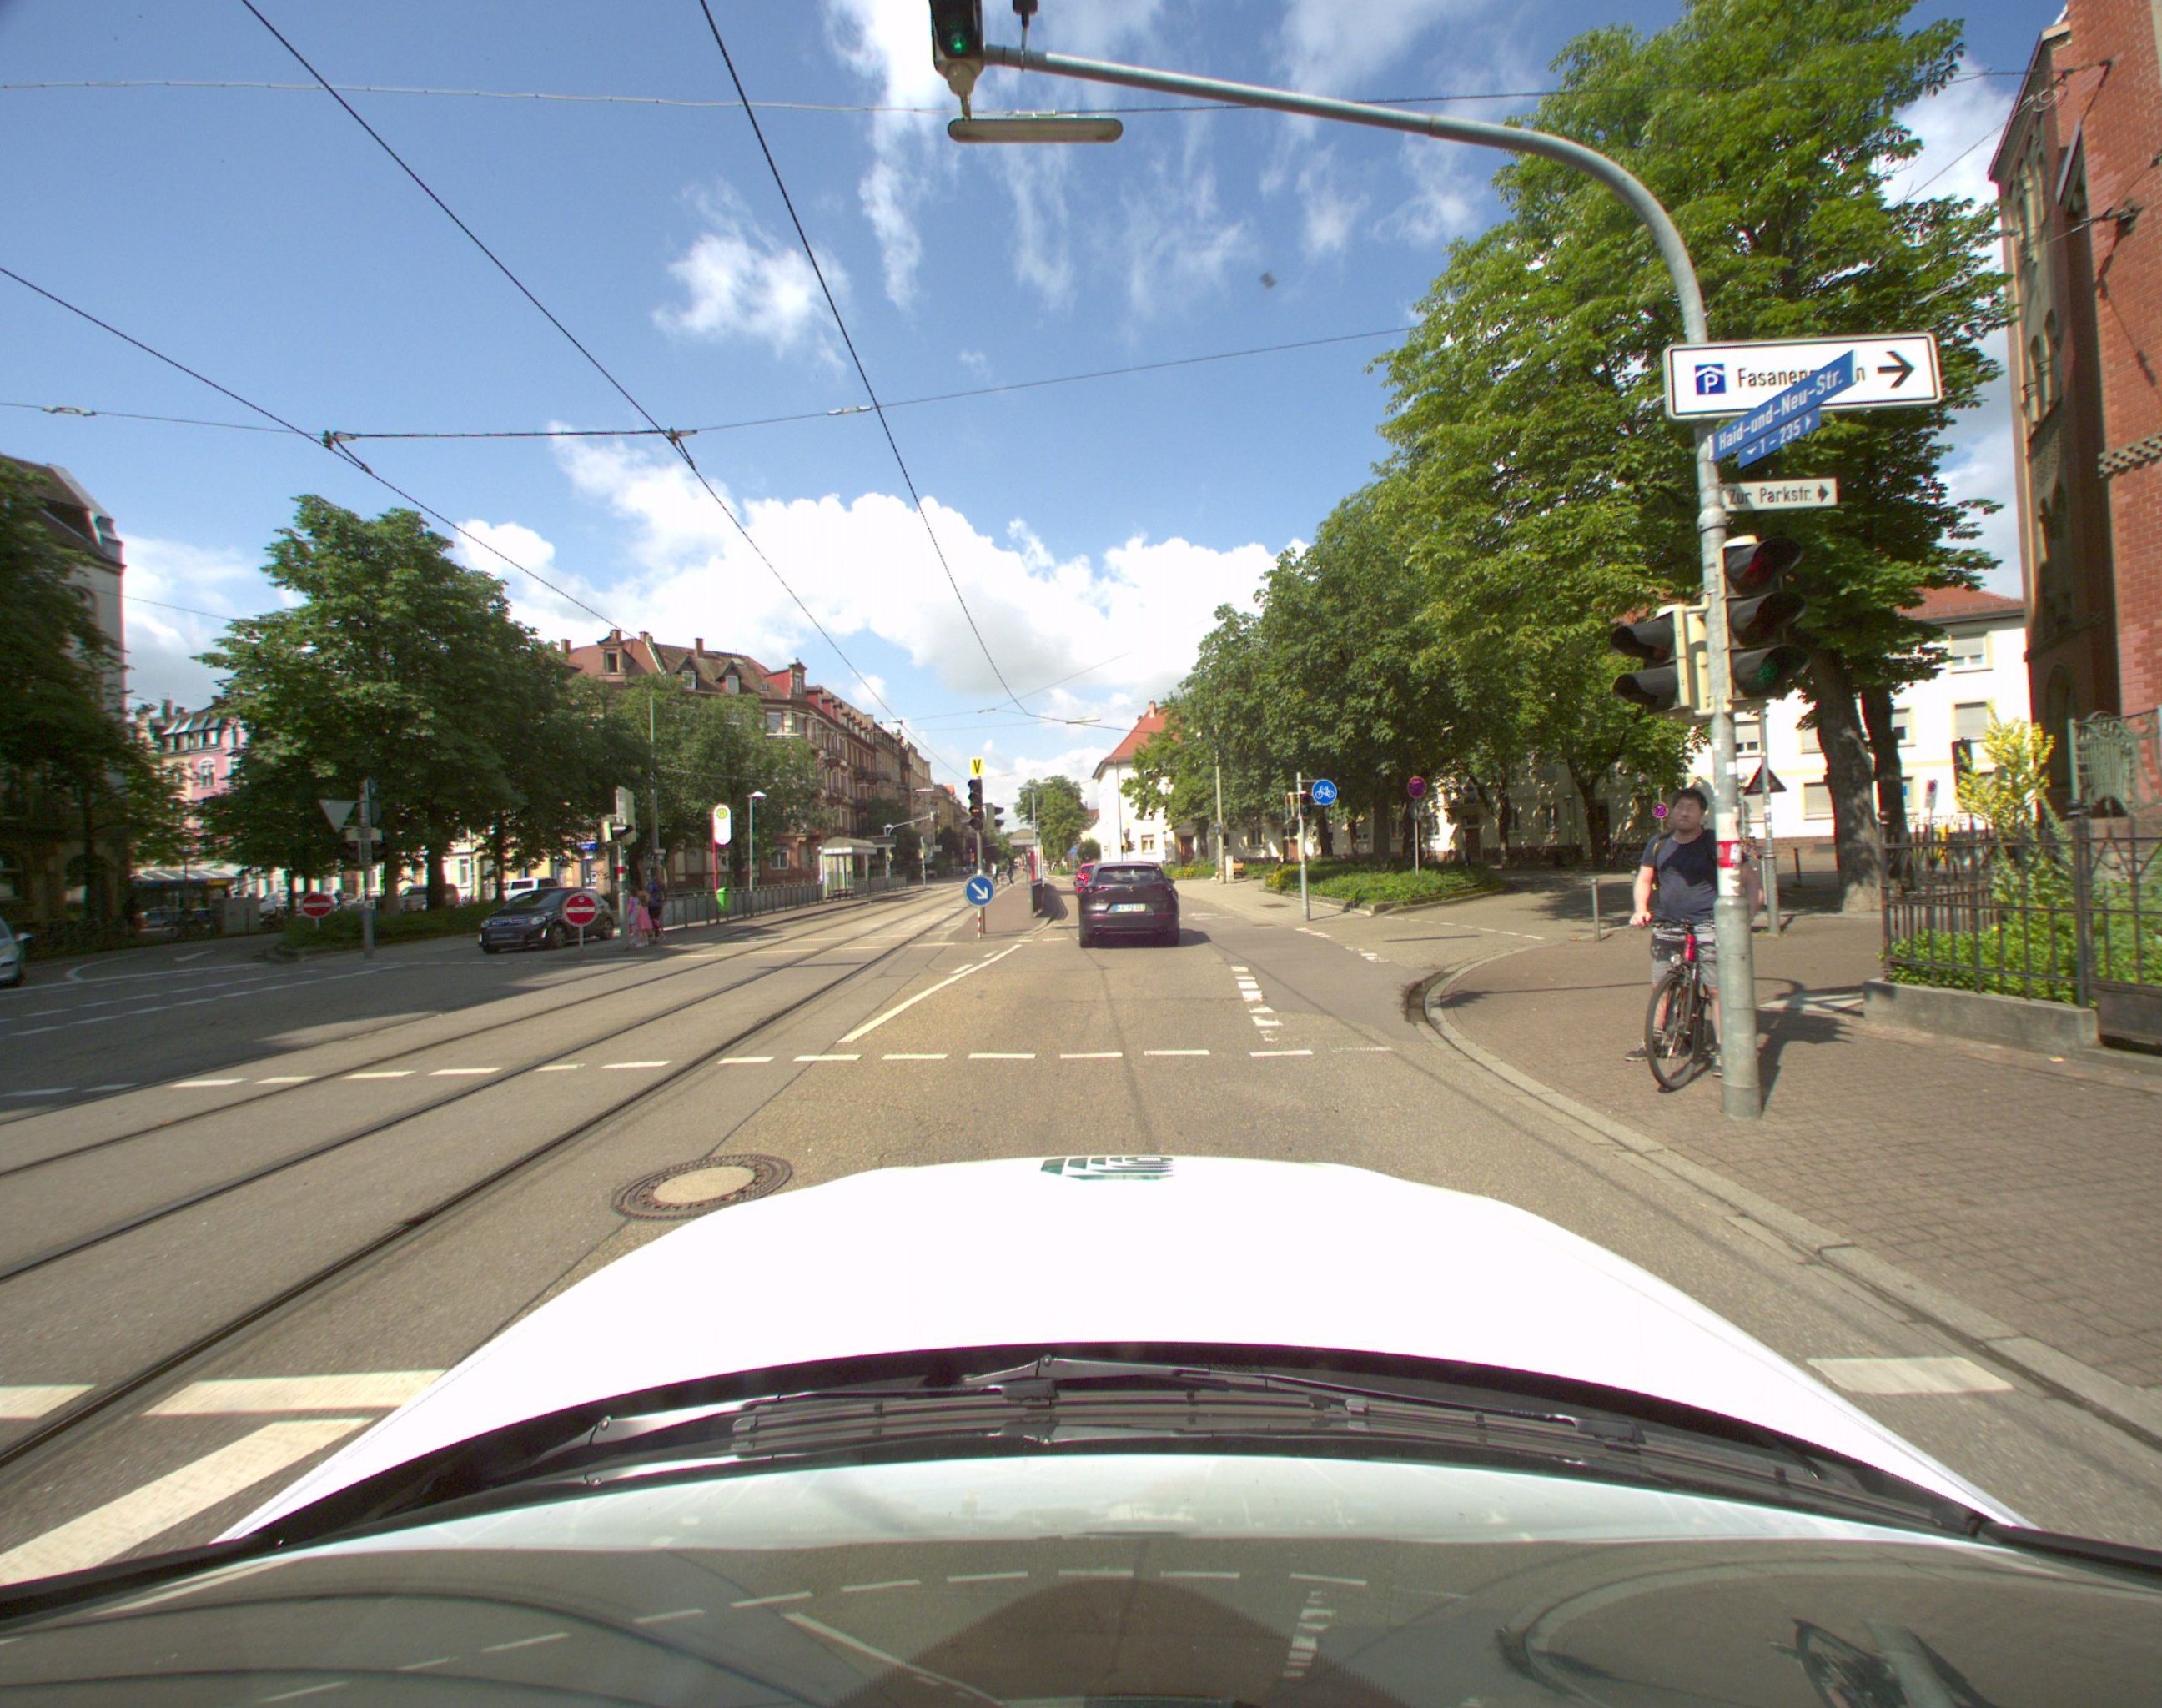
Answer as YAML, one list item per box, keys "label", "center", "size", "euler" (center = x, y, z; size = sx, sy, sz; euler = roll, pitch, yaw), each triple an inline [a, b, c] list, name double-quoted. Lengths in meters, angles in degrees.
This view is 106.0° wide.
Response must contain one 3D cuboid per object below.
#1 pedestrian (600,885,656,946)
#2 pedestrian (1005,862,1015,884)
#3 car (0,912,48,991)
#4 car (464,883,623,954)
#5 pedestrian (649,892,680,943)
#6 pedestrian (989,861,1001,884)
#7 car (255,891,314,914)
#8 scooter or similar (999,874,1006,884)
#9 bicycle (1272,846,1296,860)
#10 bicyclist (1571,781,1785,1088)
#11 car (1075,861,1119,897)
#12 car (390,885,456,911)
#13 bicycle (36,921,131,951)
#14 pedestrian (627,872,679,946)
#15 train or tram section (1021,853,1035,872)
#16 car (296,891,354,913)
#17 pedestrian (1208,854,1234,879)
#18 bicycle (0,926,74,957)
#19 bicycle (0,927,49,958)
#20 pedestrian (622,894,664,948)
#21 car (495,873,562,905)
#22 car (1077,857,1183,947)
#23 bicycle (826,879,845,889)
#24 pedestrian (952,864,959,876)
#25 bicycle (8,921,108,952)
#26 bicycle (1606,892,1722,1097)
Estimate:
- label: "pedestrian"
  center: [-10.413, 1.397, 18.735]
  size: [0.825, 1.303, 0.715]
  euler: [-5, -1, -7]
- label: "pedestrian"
  center: [-5.070, 1.380, 58.198]
  size: [0.666, 1.546, 0.580]
  euler: [-2, -1, -4]
- label: "car"
  center: [-22.082, 1.946, 16.191]
  size: [3.823, 1.420, 1.732]
  euler: [-3, -1, 41]
- label: "car"
  center: [-13.038, 1.513, 20.007]
  size: [1.621, 1.387, 3.433]
  euler: [-4, 0, -2]
- label: "pedestrian"
  center: [-9.625, 1.453, 18.822]
  size: [0.437, 1.108, 0.422]
  euler: [-4, -1, -7]
- label: "pedestrian"
  center: [-6.187, 1.326, 58.874]
  size: [0.769, 1.675, 0.667]
  euler: [-2, -1, -4]
- label: "car"
  center: [-62.827, 3.820, 64.242]
  size: [3.875, 1.555, 1.726]
  euler: [-3, -1, 19]
- label: "scooter or similar"
  center: [-5.601, 1.771, 58.192]
  size: [0.413, 0.721, 0.486]
  euler: [-2, -1, -3]
- label: "bicycle"
  center: [15.857, -0.070, 63.537]
  size: [0.570, 1.020, 1.733]
  euler: [-4, 1, -40]
- label: "bicyclist"
  center: [3.893, 0.469, 5.352]
  size: [0.736, 1.819, 0.814]
  euler: [-2, -1, -25]
- label: "car"
  center: [0.657, 1.064, 35.951]
  size: [1.770, 1.464, 3.840]
  euler: [-1, -1, -1]
- label: "car"
  center: [-47.957, 3.205, 59.339]
  size: [3.895, 1.663, 1.926]
  euler: [-3, -1, 20]
- label: "bicycle"
  center: [-35.088, 2.867, 28.682]
  size: [2.037, 0.898, 0.566]
  euler: [-1, -2, -31]
- label: "pedestrian"
  center: [-9.556, 1.211, 18.200]
  size: [0.727, 1.565, 0.797]
  euler: [-2, -1, -7]
- label: "train or tram section"
  center: [-12.246, 2.070, 188.919]
  size: [2.990, 3.984, 13.793]
  euler: [-3, -1, -3]
- label: "car"
  center: [-58.281, 3.716, 62.765]
  size: [3.606, 1.494, 1.638]
  euler: [-3, -1, 17]
- label: "pedestrian"
  center: [7.577, 0.668, 44.153]
  size: [1.191, 1.269, 0.556]
  euler: [-5, -1, -8]
- label: "bicycle"
  center: [-34.409, 2.845, 26.468]
  size: [2.037, 0.898, 0.566]
  euler: [-1, -2, -31]
- label: "bicycle"
  center: [-33.763, 2.788, 25.288]
  size: [2.039, 0.898, 0.566]
  euler: [-1, -2, -33]
- label: "pedestrian"
  center: [-9.494, 1.451, 17.660]
  size: [0.640, 1.114, 0.442]
  euler: [-2, -1, -8]
- label: "car"
  center: [-38.456, 2.430, 56.672]
  size: [3.901, 1.988, 1.866]
  euler: [-2, -1, 21]
- label: "car"
  center: [0.891, 0.838, 15.786]
  size: [1.775, 1.514, 4.001]
  euler: [0, -1, 2]
- label: "bicycle"
  center: [-21.544, 2.621, 71.382]
  size: [0.381, 0.747, 1.722]
  euler: [-3, -1, 33]
- label: "pedestrian"
  center: [-17.666, 2.251, 114.396]
  size: [0.785, 1.688, 0.731]
  euler: [-2, -1, -1]
- label: "bicycle"
  center: [-34.882, 2.803, 27.802]
  size: [2.037, 0.898, 0.566]
  euler: [-1, -2, -31]
- label: "bicycle"
  center: [3.922, 0.834, 5.427]
  size: [0.385, 1.035, 1.857]
  euler: [-3, 0, 42]
